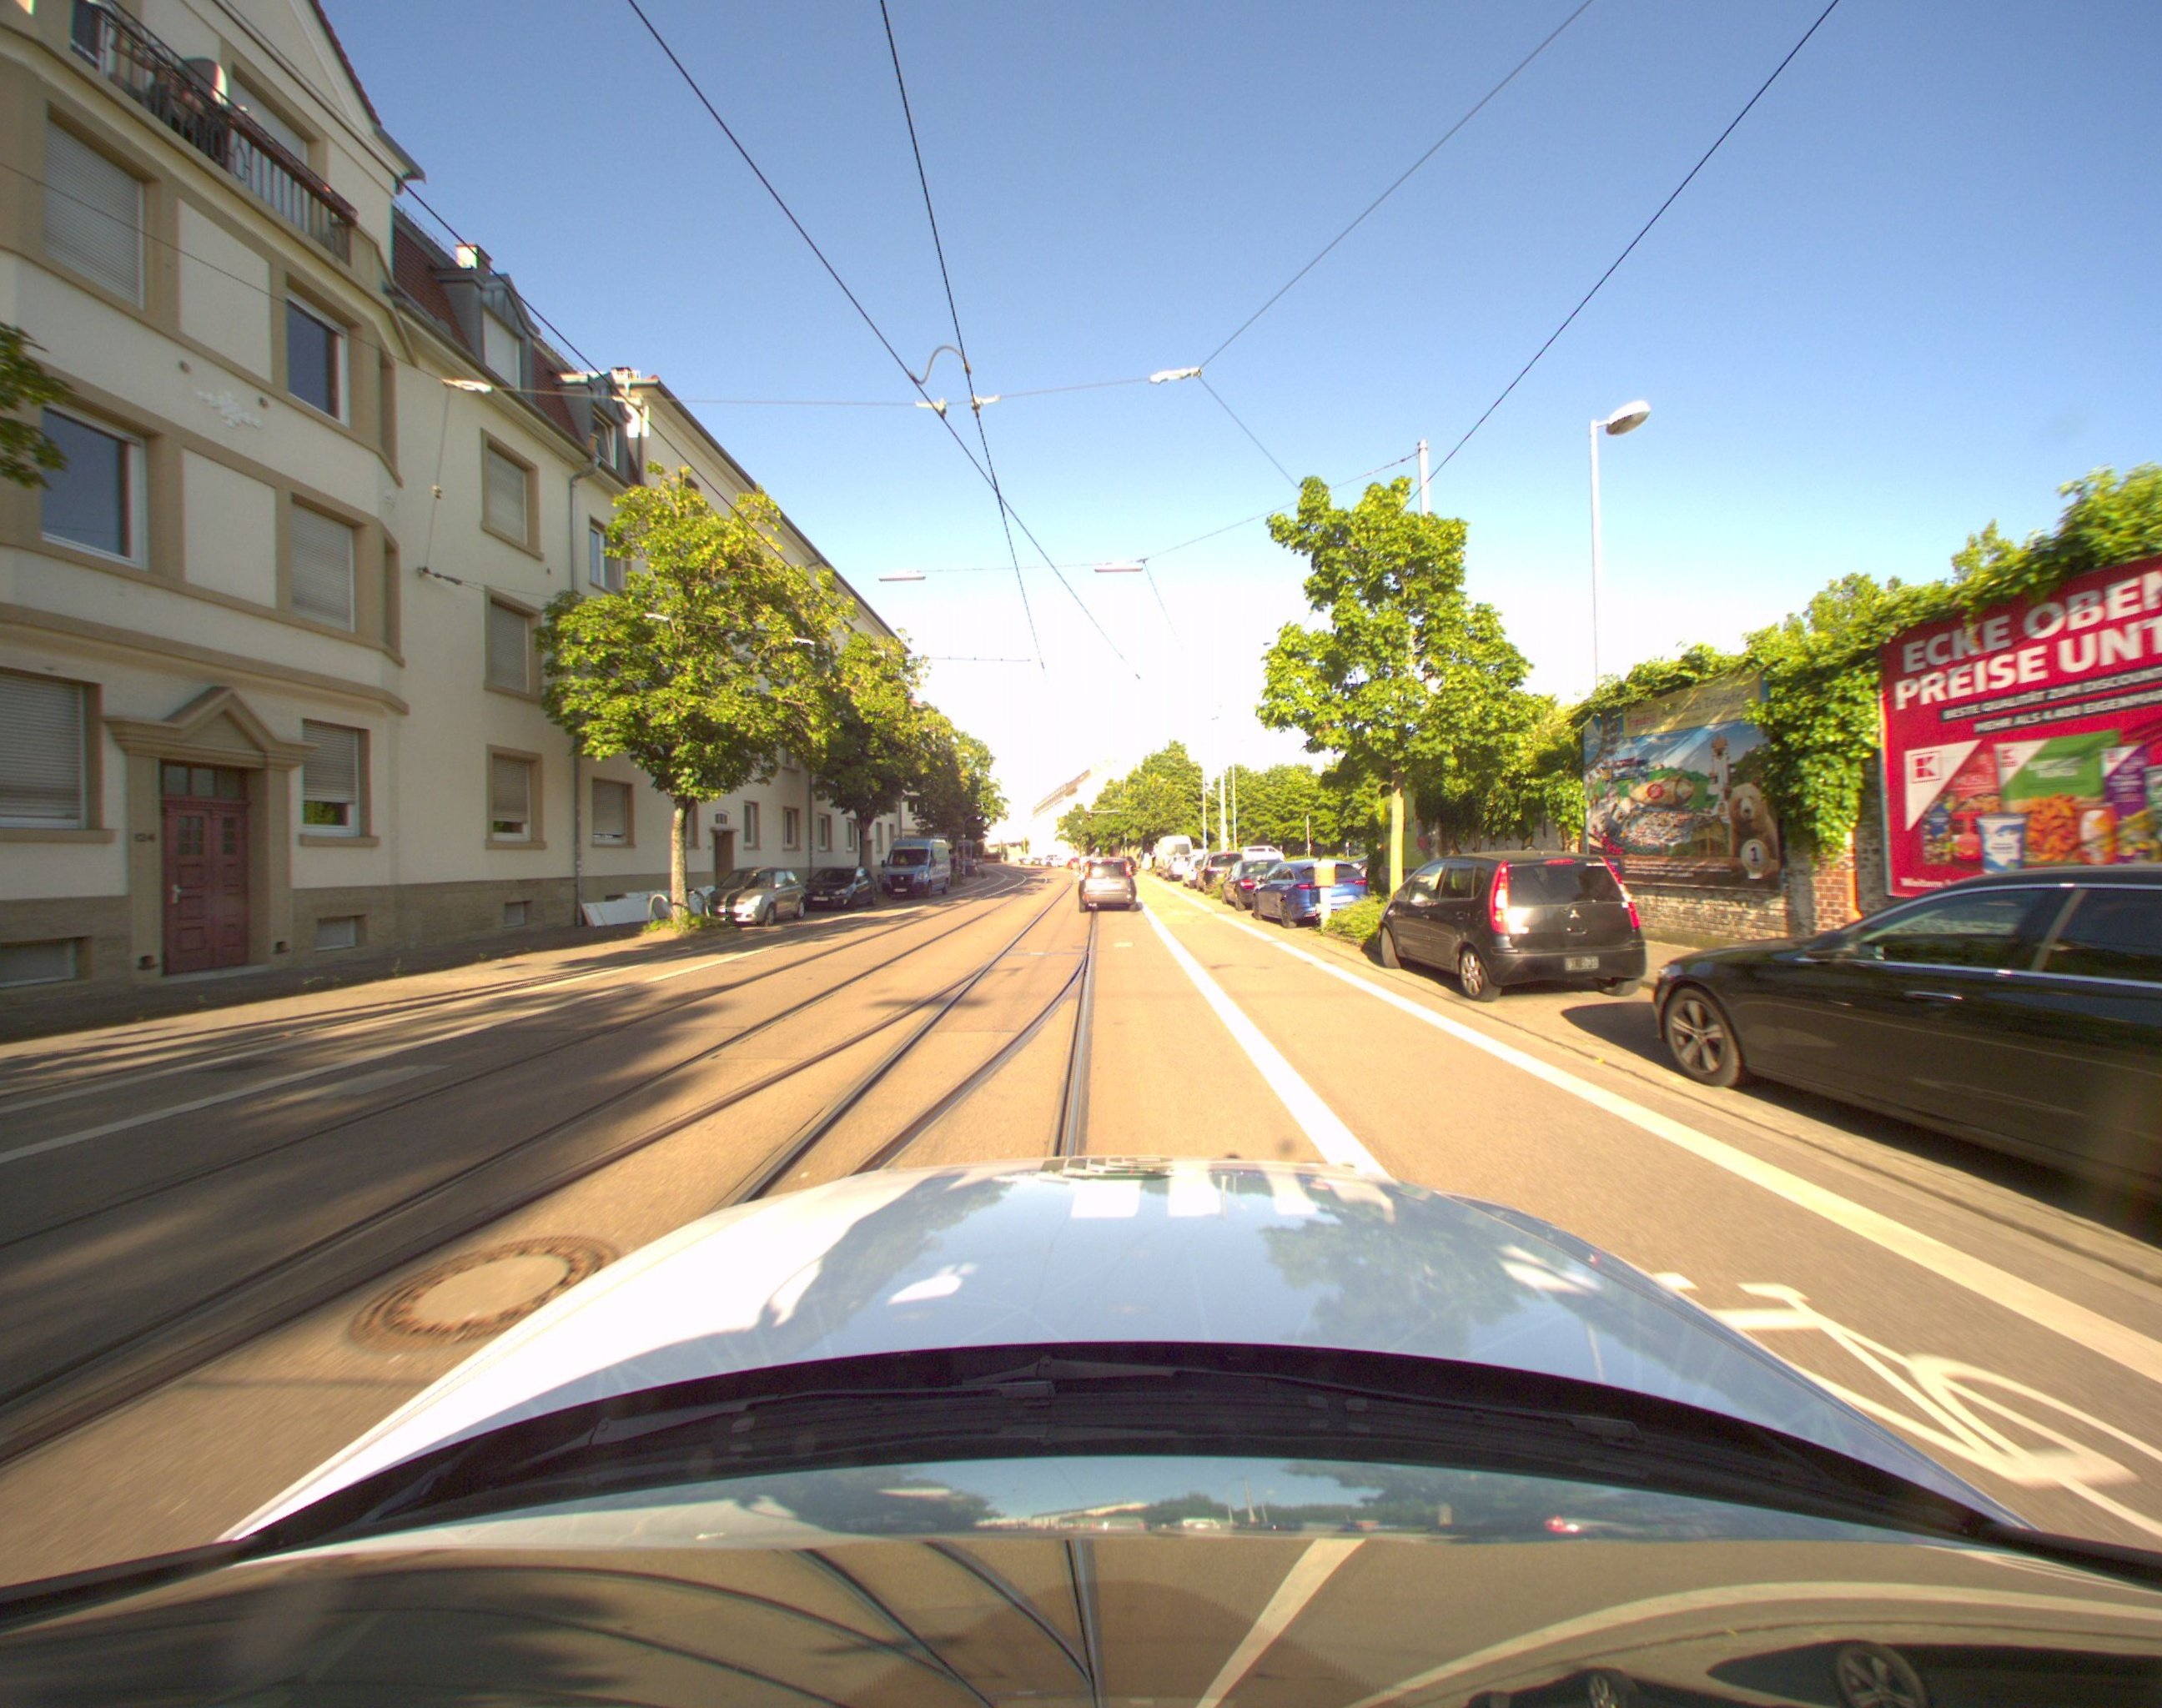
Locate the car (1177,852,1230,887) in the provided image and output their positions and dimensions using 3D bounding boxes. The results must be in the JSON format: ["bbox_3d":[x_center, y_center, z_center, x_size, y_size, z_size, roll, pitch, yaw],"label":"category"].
[{"bbox_3d":[5.595,0.687,37.678,1.723,1.512,4.249,0,0,-1],"label":"car"}]

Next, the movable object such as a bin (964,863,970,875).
[{"bbox_3d":[-9.083,1.187,65.015,0.484,0.987,0.658,0,-1,-6],"label":"movable object such as a bin"}]

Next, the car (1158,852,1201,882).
[{"bbox_3d":[5.618,0.722,46.833,1.904,1.530,4.600,-2,0,0],"label":"car"}]

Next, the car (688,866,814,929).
[{"bbox_3d":[-8.734,1.094,21.911,1.645,1.491,4.001,0,0,2],"label":"car"}]

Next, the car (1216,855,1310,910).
[{"bbox_3d":[5.280,0.787,24.204,1.723,1.464,4.495,0,0,-1],"label":"car"}]

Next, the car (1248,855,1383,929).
[{"bbox_3d":[5.106,0.768,18.363,1.723,1.464,4.338,0,0,-1],"label":"car"}]

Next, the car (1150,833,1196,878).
[{"bbox_3d":[5.987,0.125,53.546,2.173,2.665,6.090,-3,0,0],"label":"car"}]

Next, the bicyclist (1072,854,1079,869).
[{"bbox_3d":[-0.611,0.832,92.490,0.699,1.759,0.755,0,-1,-10],"label":"bicyclist"}]

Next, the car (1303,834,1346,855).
[{"bbox_3d":[27.848,-1.033,93.090,4.189,2.241,2.135,-2,0,-11],"label":"car"}]

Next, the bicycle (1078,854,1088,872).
[{"bbox_3d":[0.190,0.910,83.141,0.675,1.747,2.150,0,-1,-9],"label":"bicycle"}]

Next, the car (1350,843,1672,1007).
[{"bbox_3d":[4.850,0.707,9.900,1.819,1.493,3.813,-3,0,0],"label":"car"}]

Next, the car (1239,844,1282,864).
[{"bbox_3d":[20.030,0.046,90.822,4.272,2.013,1.771,-3,0,-5],"label":"car"}]

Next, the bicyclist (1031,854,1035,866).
[{"bbox_3d":[-8.300,1.038,140.698,0.715,2.014,0.829,0,-1,-10],"label":"bicyclist"}]

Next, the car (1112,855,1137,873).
[{"bbox_3d":[3.857,0.867,72.812,1.686,1.530,3.992,-3,0,-5],"label":"car"}]

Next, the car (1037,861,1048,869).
[{"bbox_3d":[-6.785,1.916,143.540,1.655,1.500,3.119,0,0,-9],"label":"car"}]

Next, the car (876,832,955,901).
[{"bbox_3d":[-7.231,0.523,36.251,2.009,2.826,6.035,0,0,2],"label":"car"}]

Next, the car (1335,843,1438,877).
[{"bbox_3d":[12.895,0.257,34.503,3.690,1.400,1.758,0,-1,0],"label":"car"}]

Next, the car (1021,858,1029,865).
[{"bbox_3d":[-12.645,1.704,183.166,1.583,1.599,3.365,0,0,-10],"label":"car"}]

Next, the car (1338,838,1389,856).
[{"bbox_3d":[29.437,-0.729,84.881,4.679,1.816,1.957,0,-1,-8],"label":"car"}]

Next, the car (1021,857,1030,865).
[{"bbox_3d":[-11.612,1.435,170.444,1.583,1.599,3.365,0,0,-10],"label":"car"}]

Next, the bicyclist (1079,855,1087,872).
[{"bbox_3d":[0.180,0.941,83.123,0.699,1.759,0.755,0,-1,-10],"label":"bicyclist"}]

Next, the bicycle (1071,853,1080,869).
[{"bbox_3d":[-0.614,0.777,92.618,0.675,1.747,2.150,0,-1,-9],"label":"bicycle"}]

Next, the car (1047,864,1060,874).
[{"bbox_3d":[-4.308,2.280,126.650,1.655,1.571,3.863,0,0,-9],"label":"car"}]

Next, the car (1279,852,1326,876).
[{"bbox_3d":[9.910,0.453,36.655,1.305,1.033,3.056,0,0,0],"label":"car"}]

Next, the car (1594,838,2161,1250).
[{"bbox_3d":[4.783,0.666,3.906,1.817,1.452,4.644,-2,0,2],"label":"car"}]

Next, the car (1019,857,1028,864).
[{"bbox_3d":[-12.392,1.384,176.375,1.583,1.599,3.365,0,0,-10],"label":"car"}]

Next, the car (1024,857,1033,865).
[{"bbox_3d":[-10.599,1.410,164.552,1.583,1.405,3.365,0,0,-10],"label":"car"}]

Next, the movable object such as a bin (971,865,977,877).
[{"bbox_3d":[-8.563,1.367,65.087,0.484,0.987,0.658,0,-1,-6],"label":"movable object such as a bin"}]

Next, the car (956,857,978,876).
[{"bbox_3d":[-9.771,1.056,70.043,1.686,1.530,3.993,0,0,-5],"label":"car"}]

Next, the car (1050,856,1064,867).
[{"bbox_3d":[-3.659,1.149,122.385,1.655,1.571,3.488,0,0,-9],"label":"car"}]

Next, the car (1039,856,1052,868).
[{"bbox_3d":[-6.089,1.399,138.583,1.655,1.944,4.649,0,0,-9],"label":"car"}]

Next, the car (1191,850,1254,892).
[{"bbox_3d":[5.624,0.654,32.890,1.723,1.604,4.340,0,0,-1],"label":"car"}]

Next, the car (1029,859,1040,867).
[{"bbox_3d":[-8.639,1.658,152.204,1.583,1.405,3.365,-5,0,-10],"label":"car"}]

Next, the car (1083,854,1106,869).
[{"bbox_3d":[1.469,0.879,89.343,1.690,1.530,3.984,-3,0,-11],"label":"car"}]

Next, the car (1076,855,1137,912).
[{"bbox_3d":[0.749,0.809,24.112,1.644,1.541,4.235,0,0,1],"label":"car"}]

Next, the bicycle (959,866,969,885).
[{"bbox_3d":[-7.180,1.302,49.914,0.511,1.134,2.027,0,0,-5],"label":"bicycle"}]

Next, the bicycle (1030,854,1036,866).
[{"bbox_3d":[-8.302,1.079,140.653,0.741,2.014,2.802,0,-1,-9],"label":"bicycle"}]

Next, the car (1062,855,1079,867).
[{"bbox_3d":[-1.363,0.885,104.183,1.635,1.508,3.387,-4,0,-8],"label":"car"}]

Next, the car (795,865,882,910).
[{"bbox_3d":[-8.295,1.096,28.226,1.645,1.425,4.191,0,0,2],"label":"car"}]
